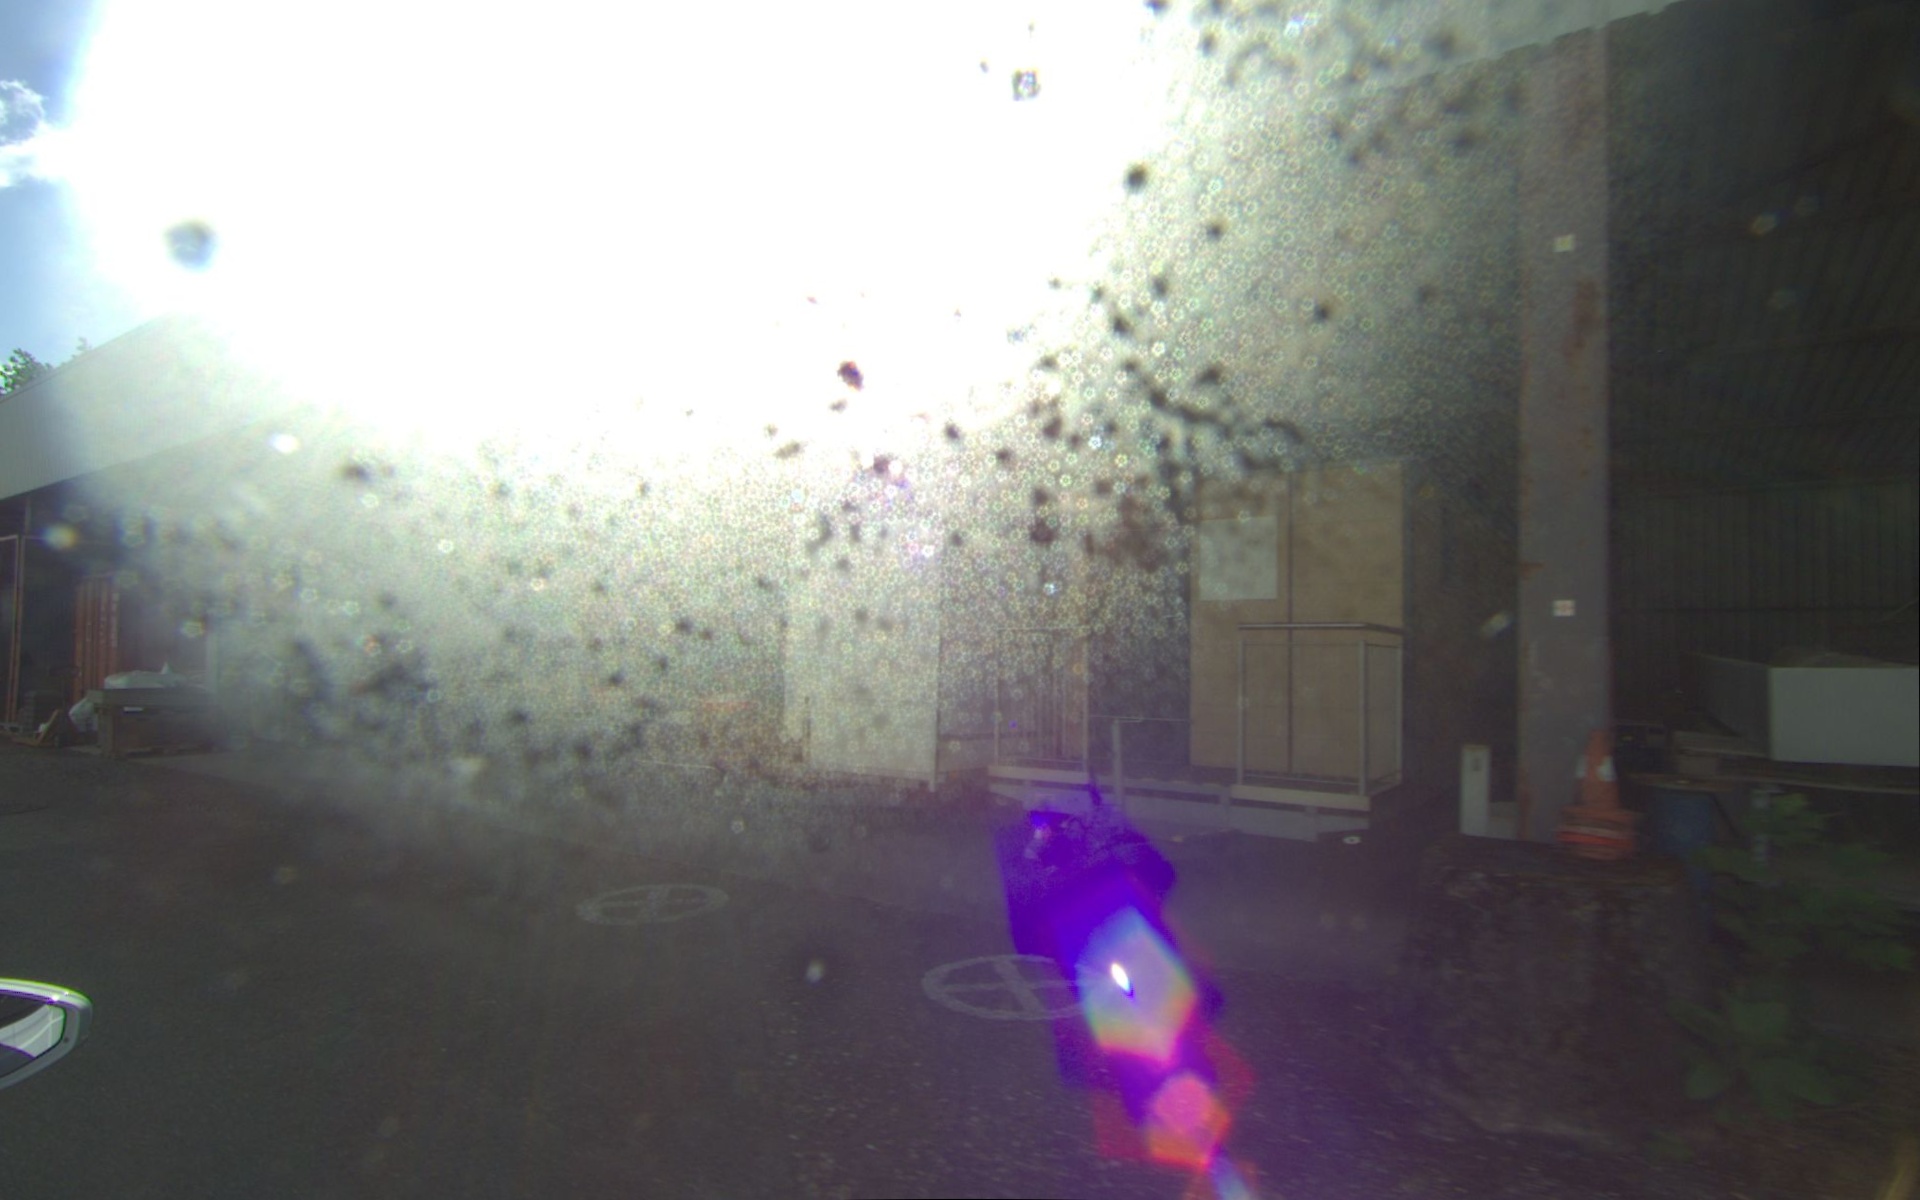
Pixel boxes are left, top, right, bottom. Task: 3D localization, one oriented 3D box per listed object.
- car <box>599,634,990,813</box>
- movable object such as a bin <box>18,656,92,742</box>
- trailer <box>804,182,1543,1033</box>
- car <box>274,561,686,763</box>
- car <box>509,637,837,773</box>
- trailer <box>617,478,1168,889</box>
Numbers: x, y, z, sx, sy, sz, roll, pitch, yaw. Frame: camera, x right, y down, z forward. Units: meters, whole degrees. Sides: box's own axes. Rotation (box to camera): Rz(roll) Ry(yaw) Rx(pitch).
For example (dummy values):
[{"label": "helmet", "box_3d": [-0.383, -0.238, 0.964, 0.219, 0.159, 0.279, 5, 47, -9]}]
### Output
[{"label": "car", "box_3d": [-1.517, 1.171, 10.808, 1.752, 1.514, 4.324, -1, -3, 32]}, {"label": "movable object such as a bin", "box_3d": [-13.155, 1.414, 14.552, 1.223, 1.179, 0.579, -1, -3, 39]}, {"label": "trailer", "box_3d": [3.121, 0.277, 8.793, 2.815, 3.256, 10.018, -1, -3, 34]}, {"label": "car", "box_3d": [-6.558, 0.881, 14.329, 1.973, 2.354, 4.969, -1, -4, 34]}, {"label": "car", "box_3d": [-3.598, 1.277, 13.236, 1.763, 1.491, 3.981, -1, -3, 33]}, {"label": "trailer", "box_3d": [-0.200, 0.621, 8.346, 1.805, 2.421, 4.795, -1, -3, 39]}]
